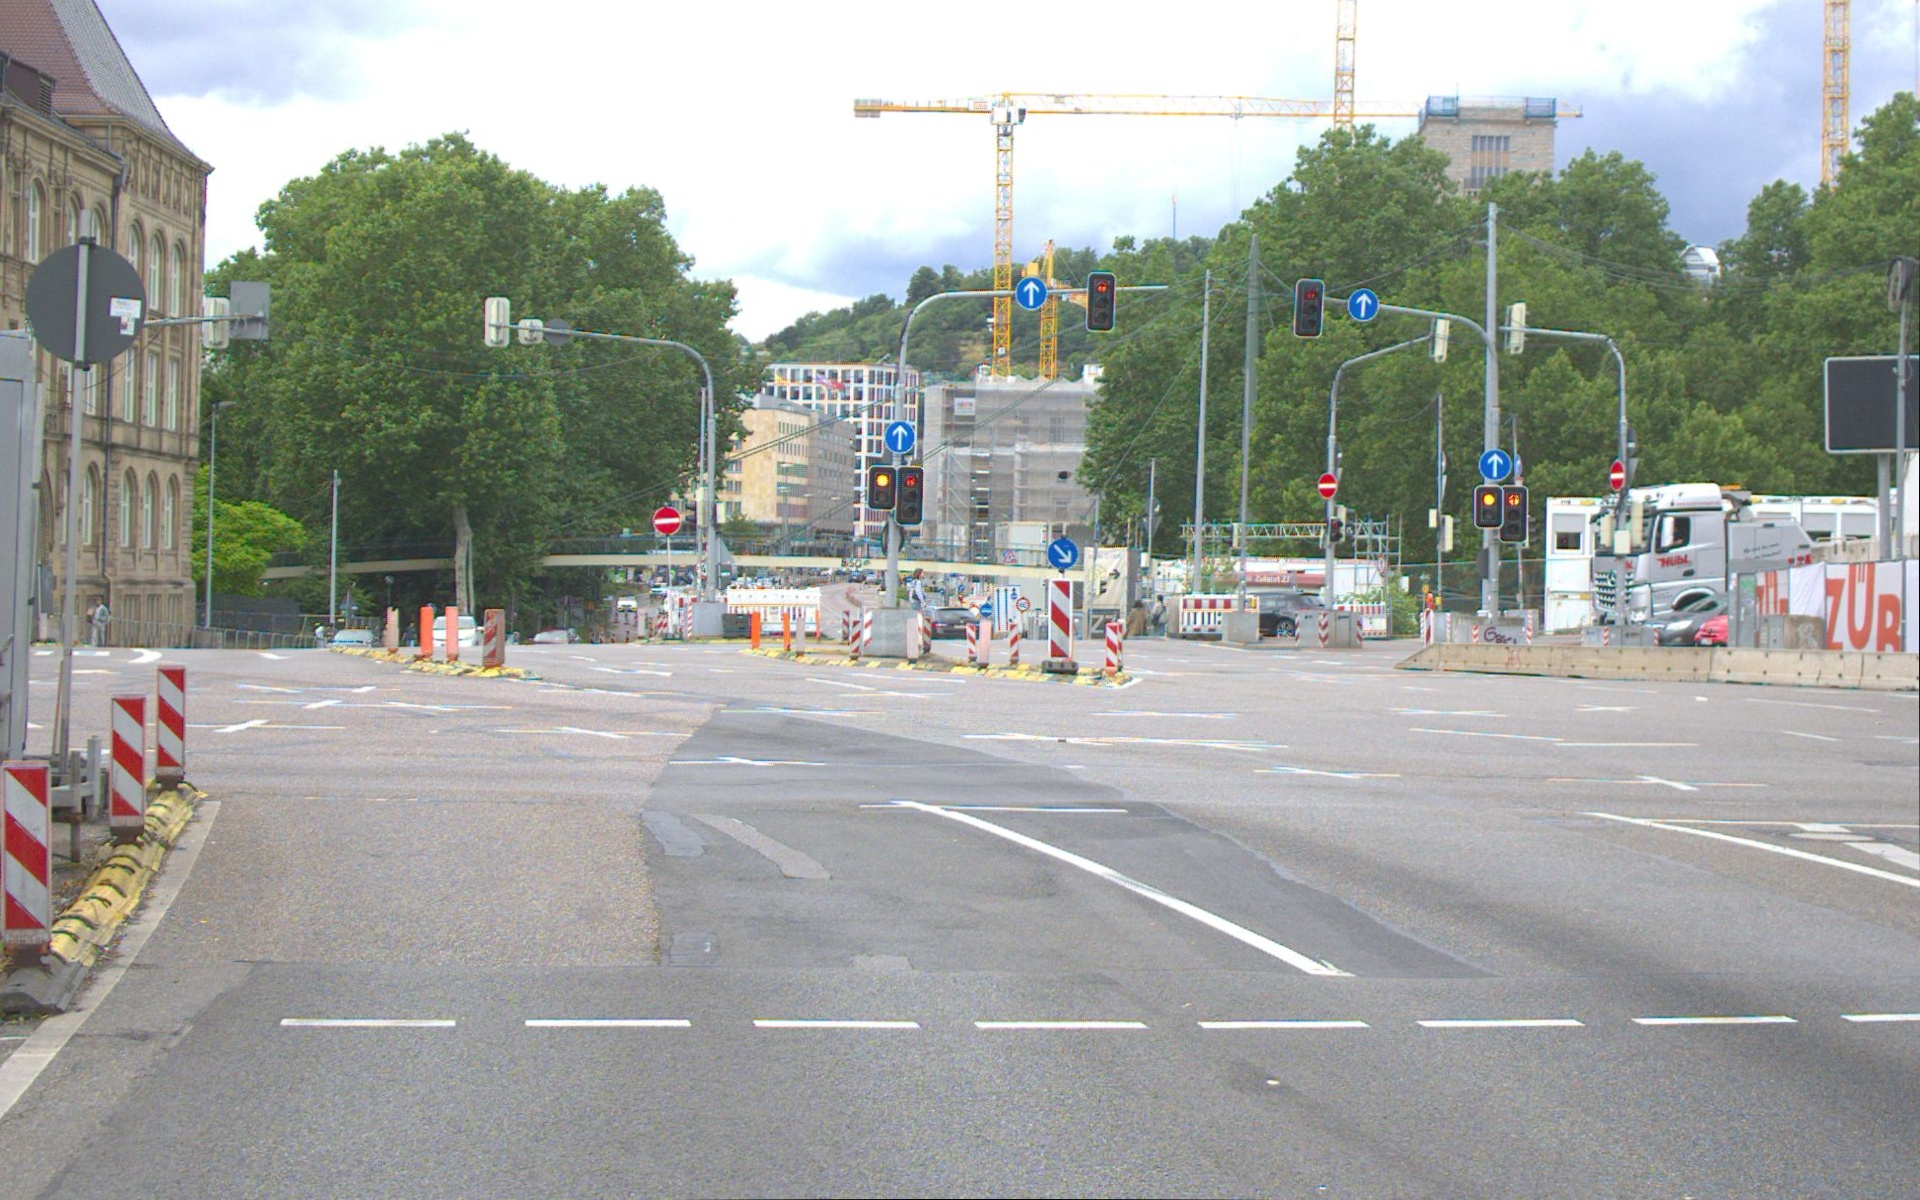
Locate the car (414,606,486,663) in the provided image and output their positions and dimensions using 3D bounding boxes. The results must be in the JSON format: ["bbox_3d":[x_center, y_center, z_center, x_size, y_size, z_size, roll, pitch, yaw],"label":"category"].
[{"bbox_3d":[-17.134,1.141,115.625,1.993,1.831,4.001,1,1,-3],"label":"car"}]

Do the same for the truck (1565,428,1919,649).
[{"bbox_3d":[19.322,-1.386,80.865,9.712,4.943,3.114,1,0,-20],"label":"truck"}]

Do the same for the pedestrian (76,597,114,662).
[{"bbox_3d":[-26.815,0.913,106.537,0.950,2.007,0.766,1,0,2],"label":"pedestrian"}]

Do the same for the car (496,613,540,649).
[{"bbox_3d":[-23.449,1.622,182.332,1.993,1.831,4.001,1,1,-3],"label":"car"}]

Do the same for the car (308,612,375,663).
[{"bbox_3d":[-23.498,1.408,130.707,1.993,1.831,4.001,1,1,-3],"label":"car"}]

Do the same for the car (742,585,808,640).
[{"bbox_3d":[-7.059,0.474,130.804,1.993,2.007,4.001,1,1,-10],"label":"car"}]

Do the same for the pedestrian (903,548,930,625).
[{"bbox_3d":[-1.034,-0.325,81.729,0.585,1.834,0.604,1,0,-4],"label":"pedestrian"}]

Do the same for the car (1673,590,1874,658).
[{"bbox_3d":[17.293,0.505,73.101,3.806,1.381,1.805,1,1,-22],"label":"car"}]

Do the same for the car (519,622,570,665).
[{"bbox_3d":[-18.766,1.967,155.236,1.993,1.831,4.001,1,1,-3],"label":"car"}]

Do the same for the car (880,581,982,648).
[{"bbox_3d":[-0.926,0.431,107.116,1.993,2.007,4.279,1,1,-17],"label":"car"}]

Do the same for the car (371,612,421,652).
[{"bbox_3d":[-27.634,1.558,168.469,1.993,1.831,4.001,1,1,-3],"label":"car"}]
